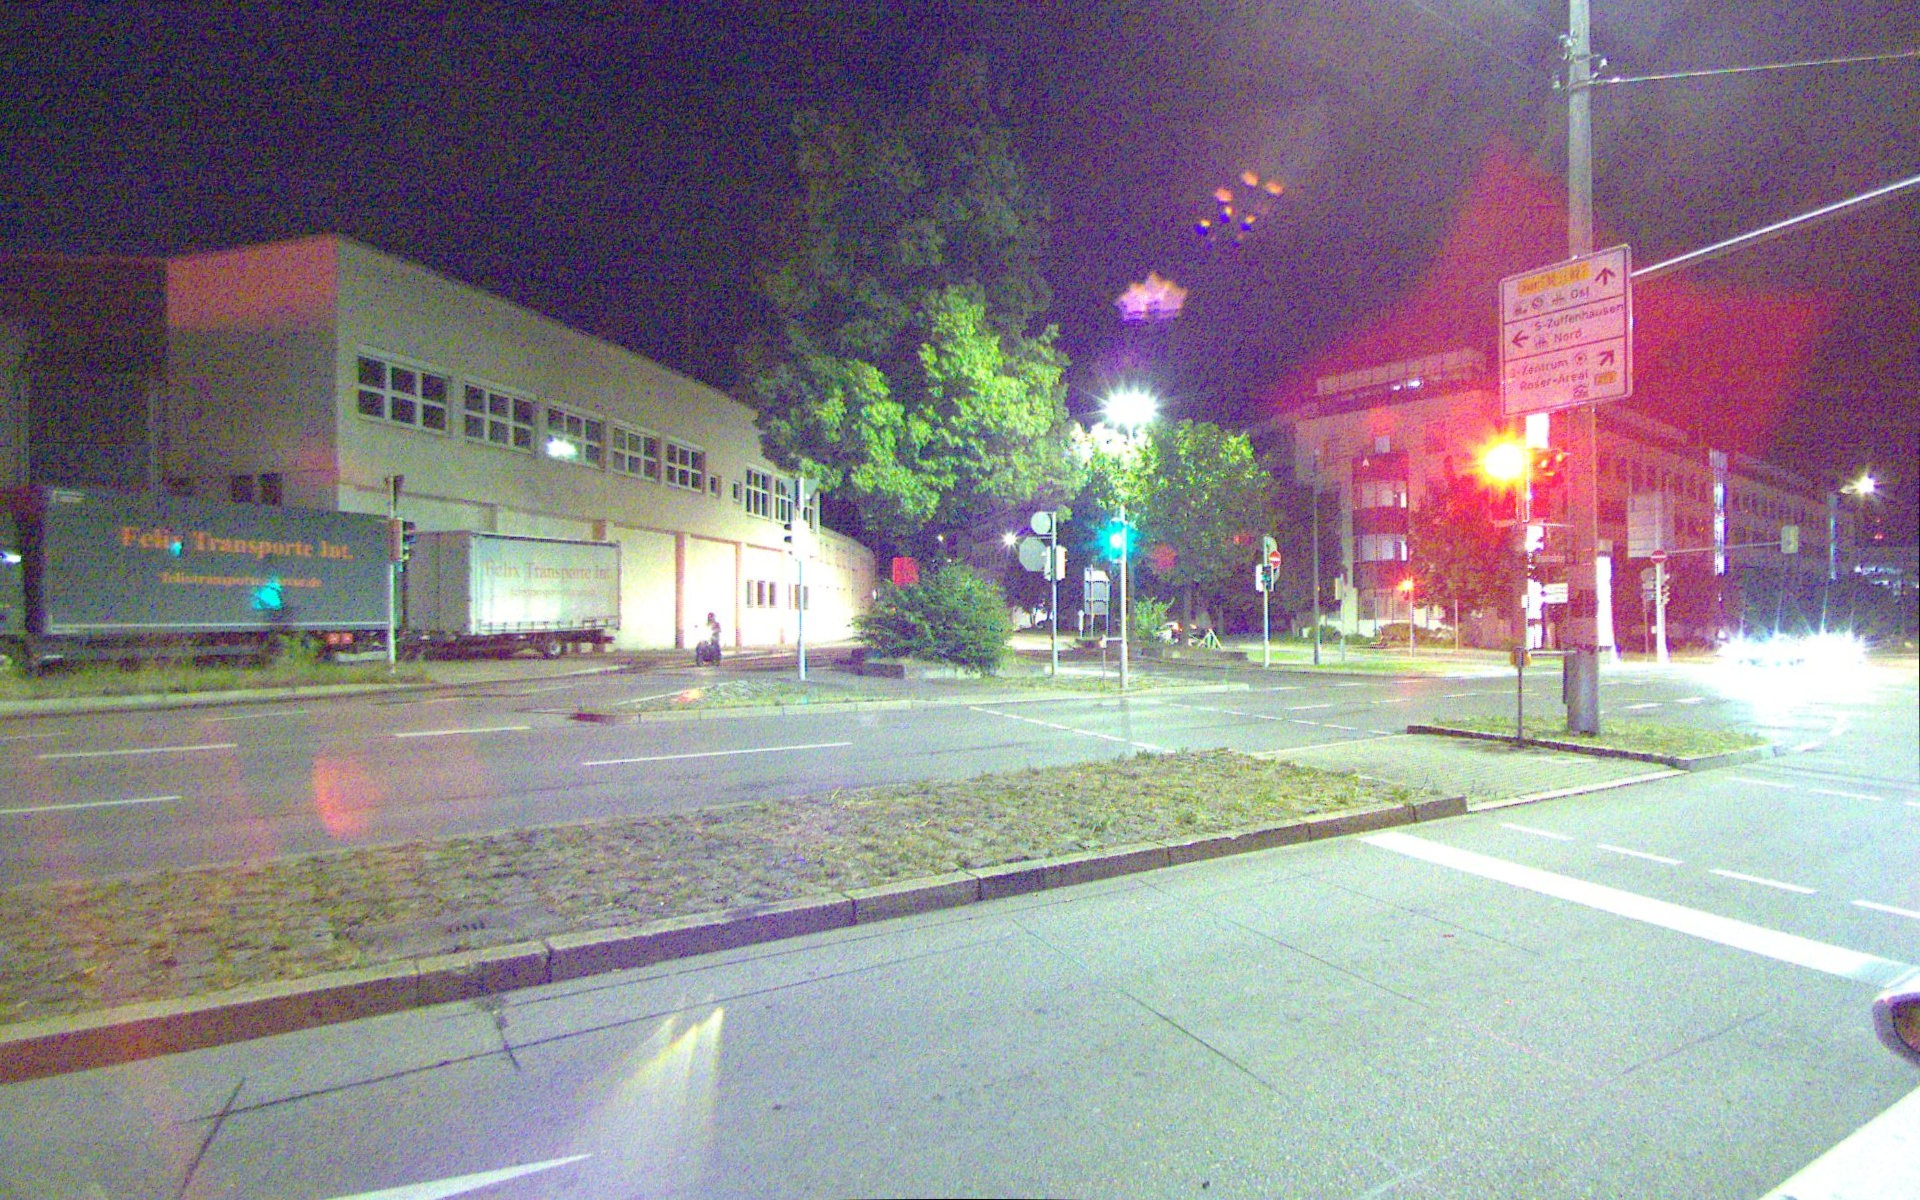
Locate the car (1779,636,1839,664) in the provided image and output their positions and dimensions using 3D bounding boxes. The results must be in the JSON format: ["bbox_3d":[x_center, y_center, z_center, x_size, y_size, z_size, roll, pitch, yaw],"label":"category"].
[{"bbox_3d":[43.035,2.544,50.908,3.518,1.339,1.743,3,-2,-39],"label":"car"}]

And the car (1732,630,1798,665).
[{"bbox_3d":[37.275,2.180,46.484,3.966,1.535,1.603,3,-2,-39],"label":"car"}]

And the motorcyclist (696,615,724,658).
[{"bbox_3d":[-7.524,1.093,30.237,0.635,1.278,0.579,1,-1,9],"label":"motorcyclist"}]

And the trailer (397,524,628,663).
[{"bbox_3d":[-13.658,-0.080,31.321,2.571,3.841,6.512,1,-2,23],"label":"trailer"}]

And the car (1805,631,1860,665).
[{"bbox_3d":[48.132,2.644,55.420,3.518,1.750,1.743,2,-2,-39],"label":"car"}]

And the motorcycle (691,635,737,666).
[{"bbox_3d":[-7.405,1.504,30.313,0.568,0.907,2.157,-1,-2,9],"label":"motorcycle"}]

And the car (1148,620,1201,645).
[{"bbox_3d":[13.796,2.060,64.690,1.681,1.511,3.987,2,-1,-16],"label":"car"}]

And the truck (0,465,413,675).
[{"bbox_3d":[-17.503,-0.448,22.273,2.892,3.846,9.552,1,-2,25],"label":"truck"}]
